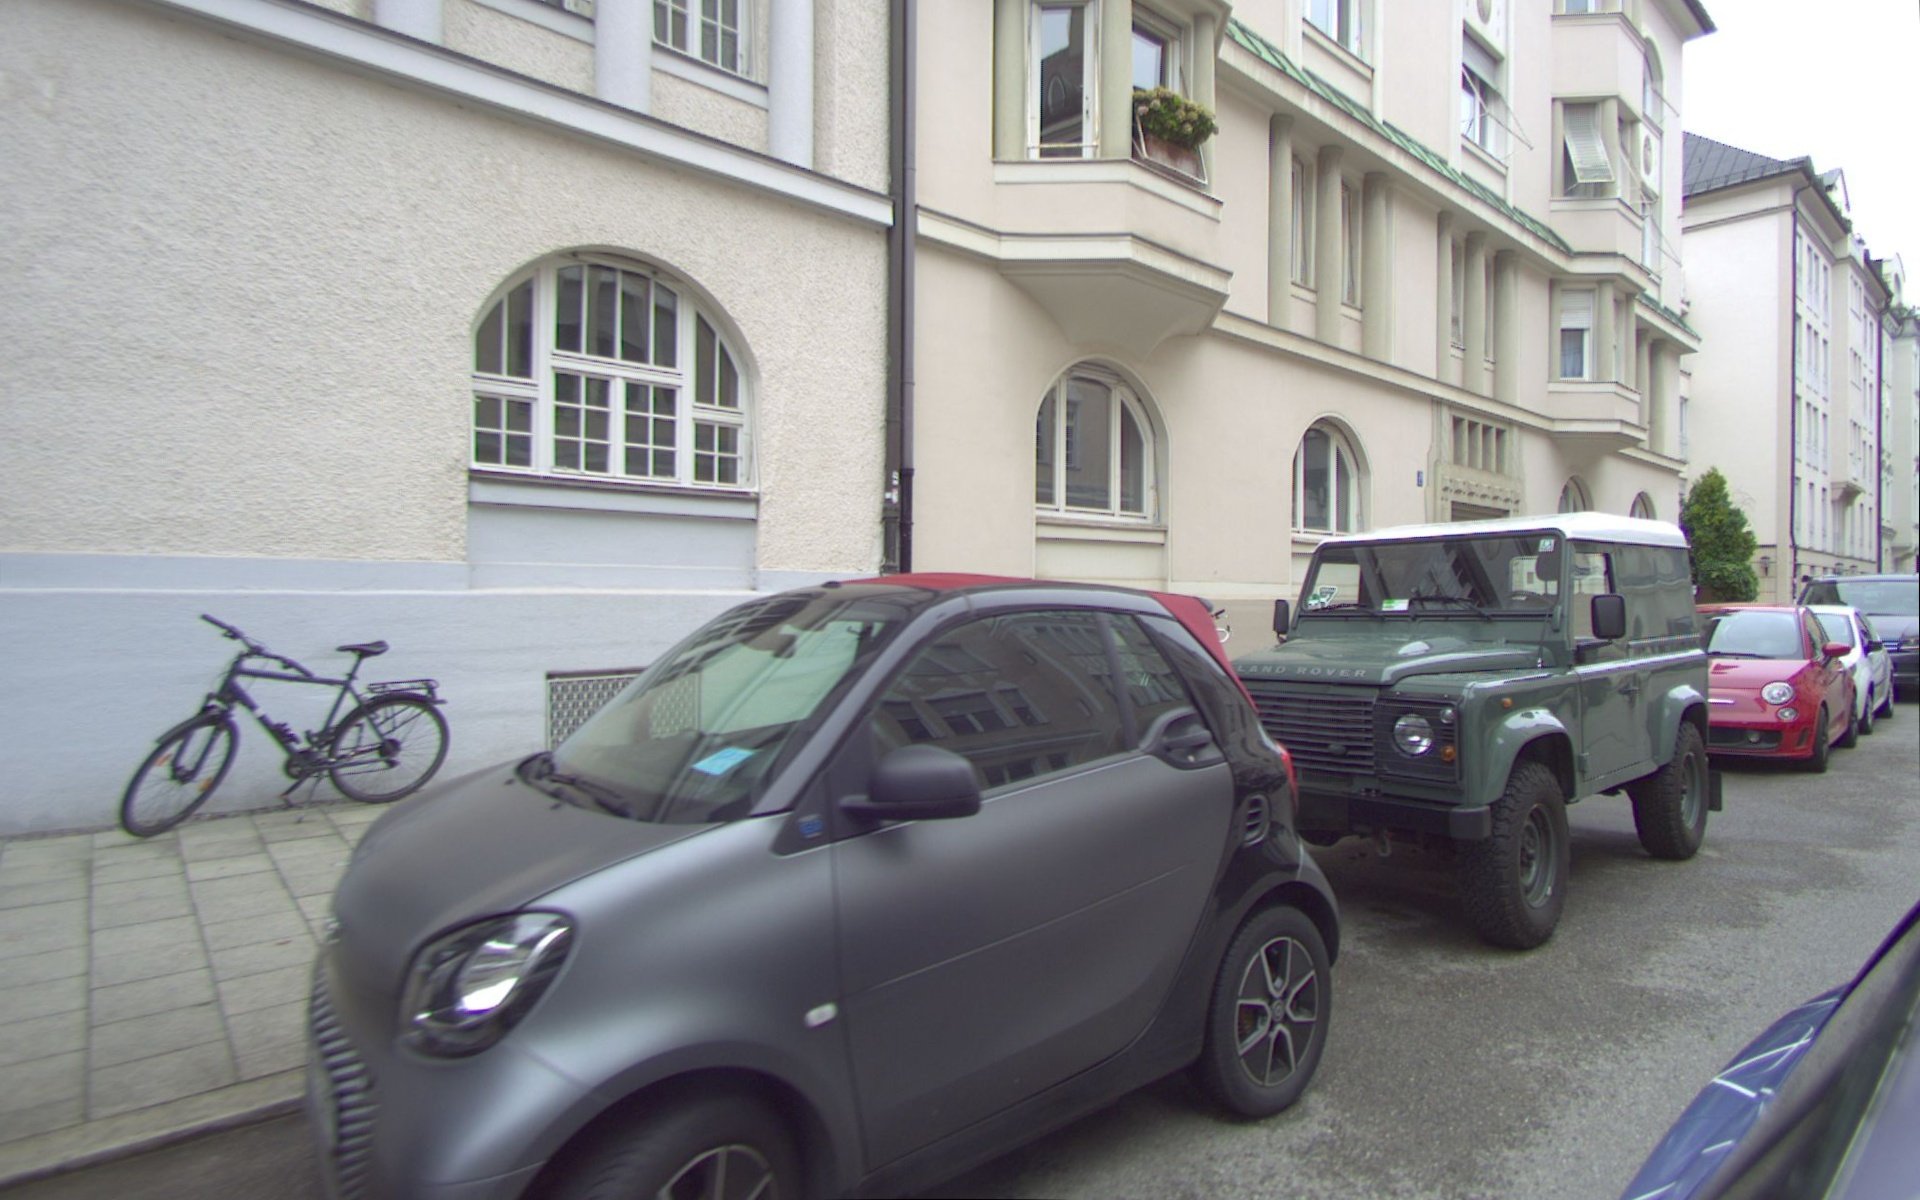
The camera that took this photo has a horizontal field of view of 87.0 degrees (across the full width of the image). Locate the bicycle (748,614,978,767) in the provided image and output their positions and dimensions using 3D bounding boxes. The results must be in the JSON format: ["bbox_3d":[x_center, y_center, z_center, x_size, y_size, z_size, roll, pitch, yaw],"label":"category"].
[{"bbox_3d":[-0.782,0.703,8.617,1.933,1.131,0.647,0,0,-40],"label":"bicycle"}]

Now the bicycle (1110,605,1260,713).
[{"bbox_3d":[2.457,0.621,11.058,1.566,1.131,0.432,0,0,-13],"label":"bicycle"}]

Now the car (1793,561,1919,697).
[{"bbox_3d":[15.224,0.414,16.495,4.583,1.961,1.878,0,-1,-42],"label":"car"}]

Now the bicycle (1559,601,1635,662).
[{"bbox_3d":[12.758,0.600,20.248,1.933,1.131,0.719,0,2,-41],"label":"bicycle"}]

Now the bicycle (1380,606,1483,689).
[{"bbox_3d":[7.050,0.672,15.088,1.933,1.131,0.642,0,0,-40],"label":"bicycle"}]

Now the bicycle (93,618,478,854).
[{"bbox_3d":[-3.788,0.685,5.780,1.757,1.082,0.653,0,3,-41],"label":"bicycle"}]

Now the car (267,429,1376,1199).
[{"bbox_3d":[-0.276,0.569,2.903,2.763,1.646,1.546,0,0,-37],"label":"car"}]

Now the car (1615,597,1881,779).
[{"bbox_3d":[7.854,0.723,9.984,3.444,1.490,1.494,0,-1,-42],"label":"car"}]

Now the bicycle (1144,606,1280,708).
[{"bbox_3d":[2.879,0.634,11.563,1.527,1.131,0.317,0,0,-13],"label":"bicycle"}]

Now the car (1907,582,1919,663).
[{"bbox_3d":[23.117,0.490,23.223,3.396,1.800,1.682,0,0,-41],"label":"car"}]

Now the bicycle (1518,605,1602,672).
[{"bbox_3d":[11.197,0.696,18.860,1.933,1.131,0.719,0,3,-41],"label":"bicycle"}]

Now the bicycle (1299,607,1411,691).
[{"bbox_3d":[5.496,0.647,14.036,1.805,1.060,0.642,0,2,-40],"label":"bicycle"}]

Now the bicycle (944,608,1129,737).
[{"bbox_3d":[0.785,0.655,9.979,1.933,1.131,0.642,0,0,-40],"label":"bicycle"}]

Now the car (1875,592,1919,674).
[{"bbox_3d":[19.092,0.595,19.499,3.672,1.485,1.730,0,0,-41],"label":"car"}]

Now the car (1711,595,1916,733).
[{"bbox_3d":[10.787,0.699,12.715,3.612,1.490,1.494,0,-1,-42],"label":"car"}]

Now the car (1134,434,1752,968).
[{"bbox_3d":[3.005,0.374,5.909,4.000,2.065,1.799,0,0,-41],"label":"car"}]
